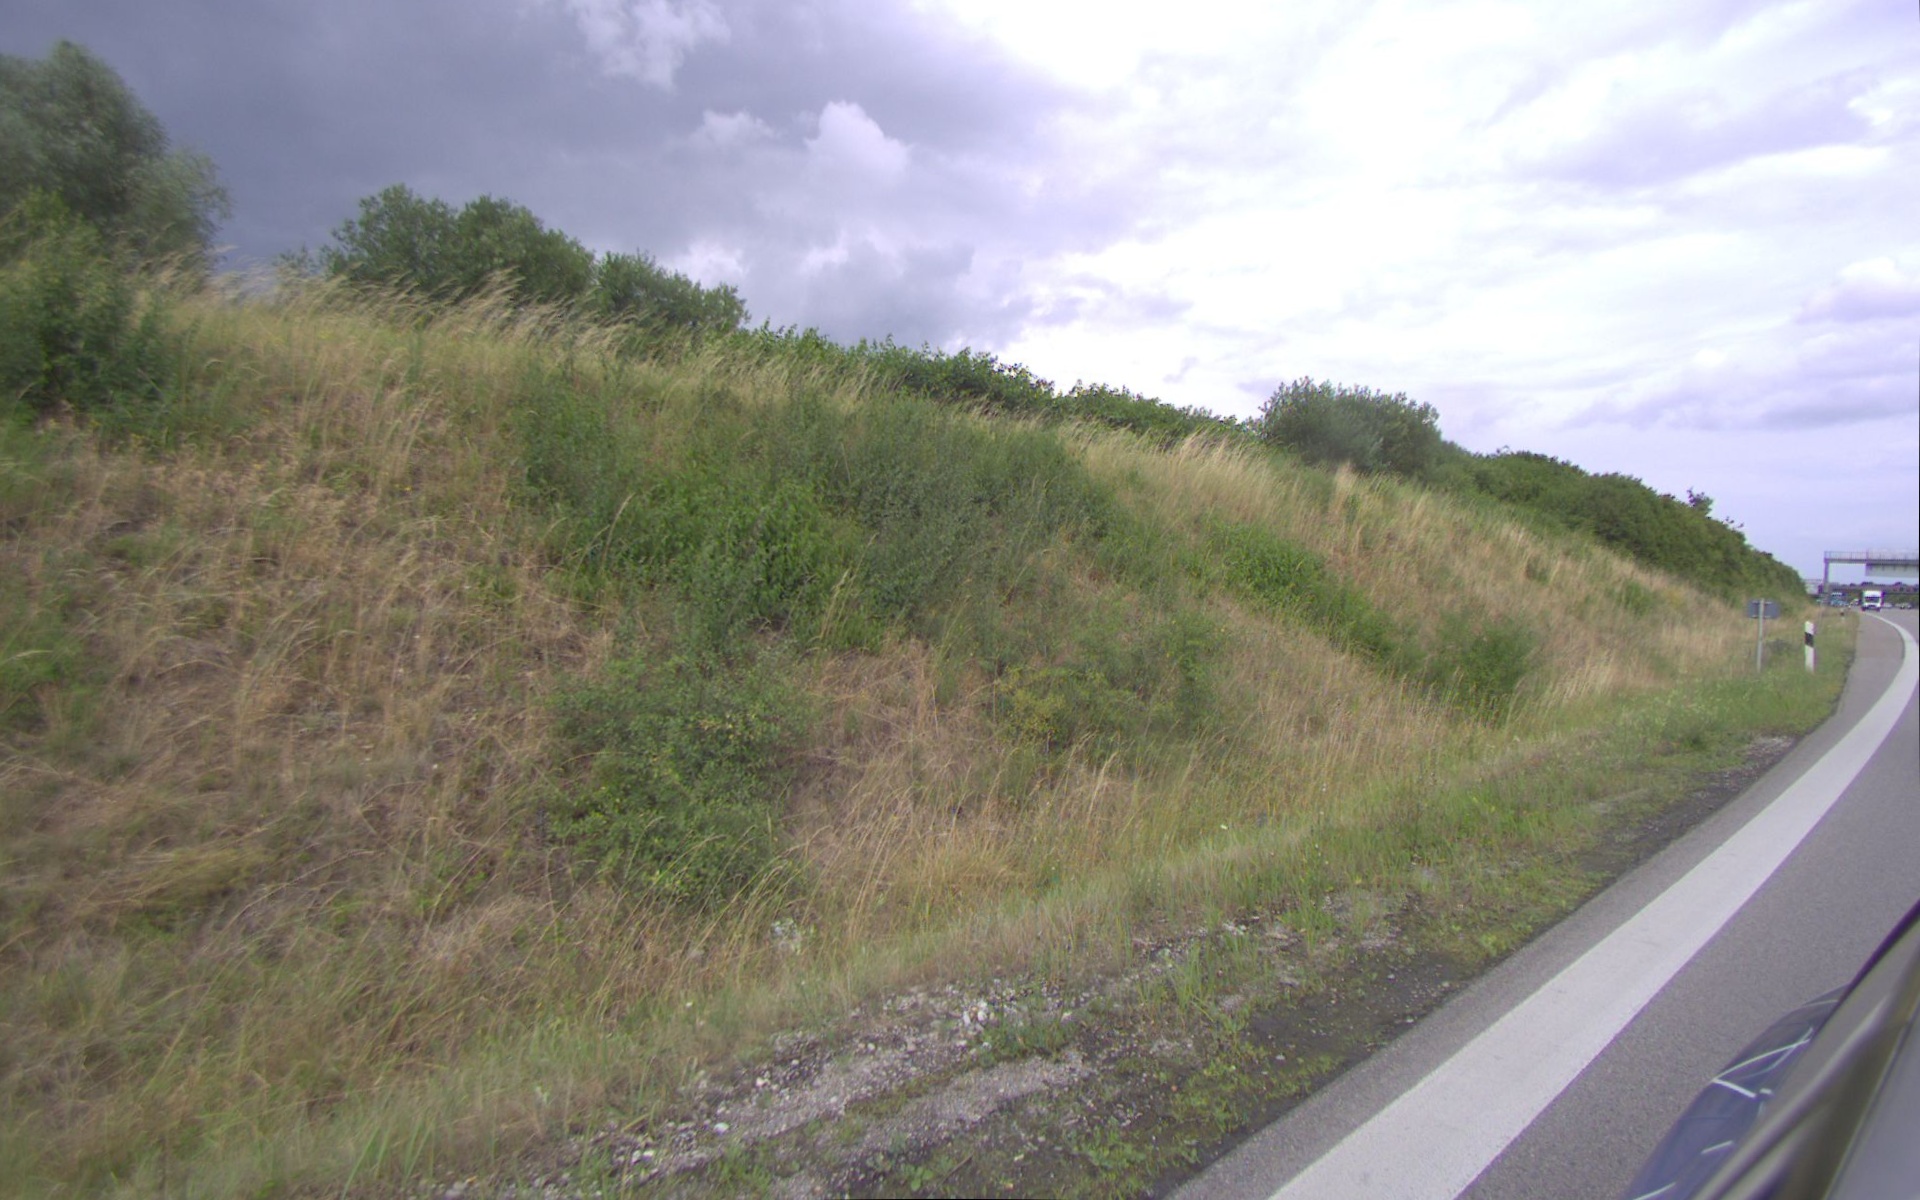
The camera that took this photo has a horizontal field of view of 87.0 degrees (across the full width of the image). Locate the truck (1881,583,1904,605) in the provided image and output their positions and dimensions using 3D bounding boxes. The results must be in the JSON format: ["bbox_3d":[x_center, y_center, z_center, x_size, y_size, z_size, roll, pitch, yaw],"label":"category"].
[{"bbox_3d":[143.438,-0.869,155.723,2.442,3.275,7.080,2,2,43],"label":"truck"}]
